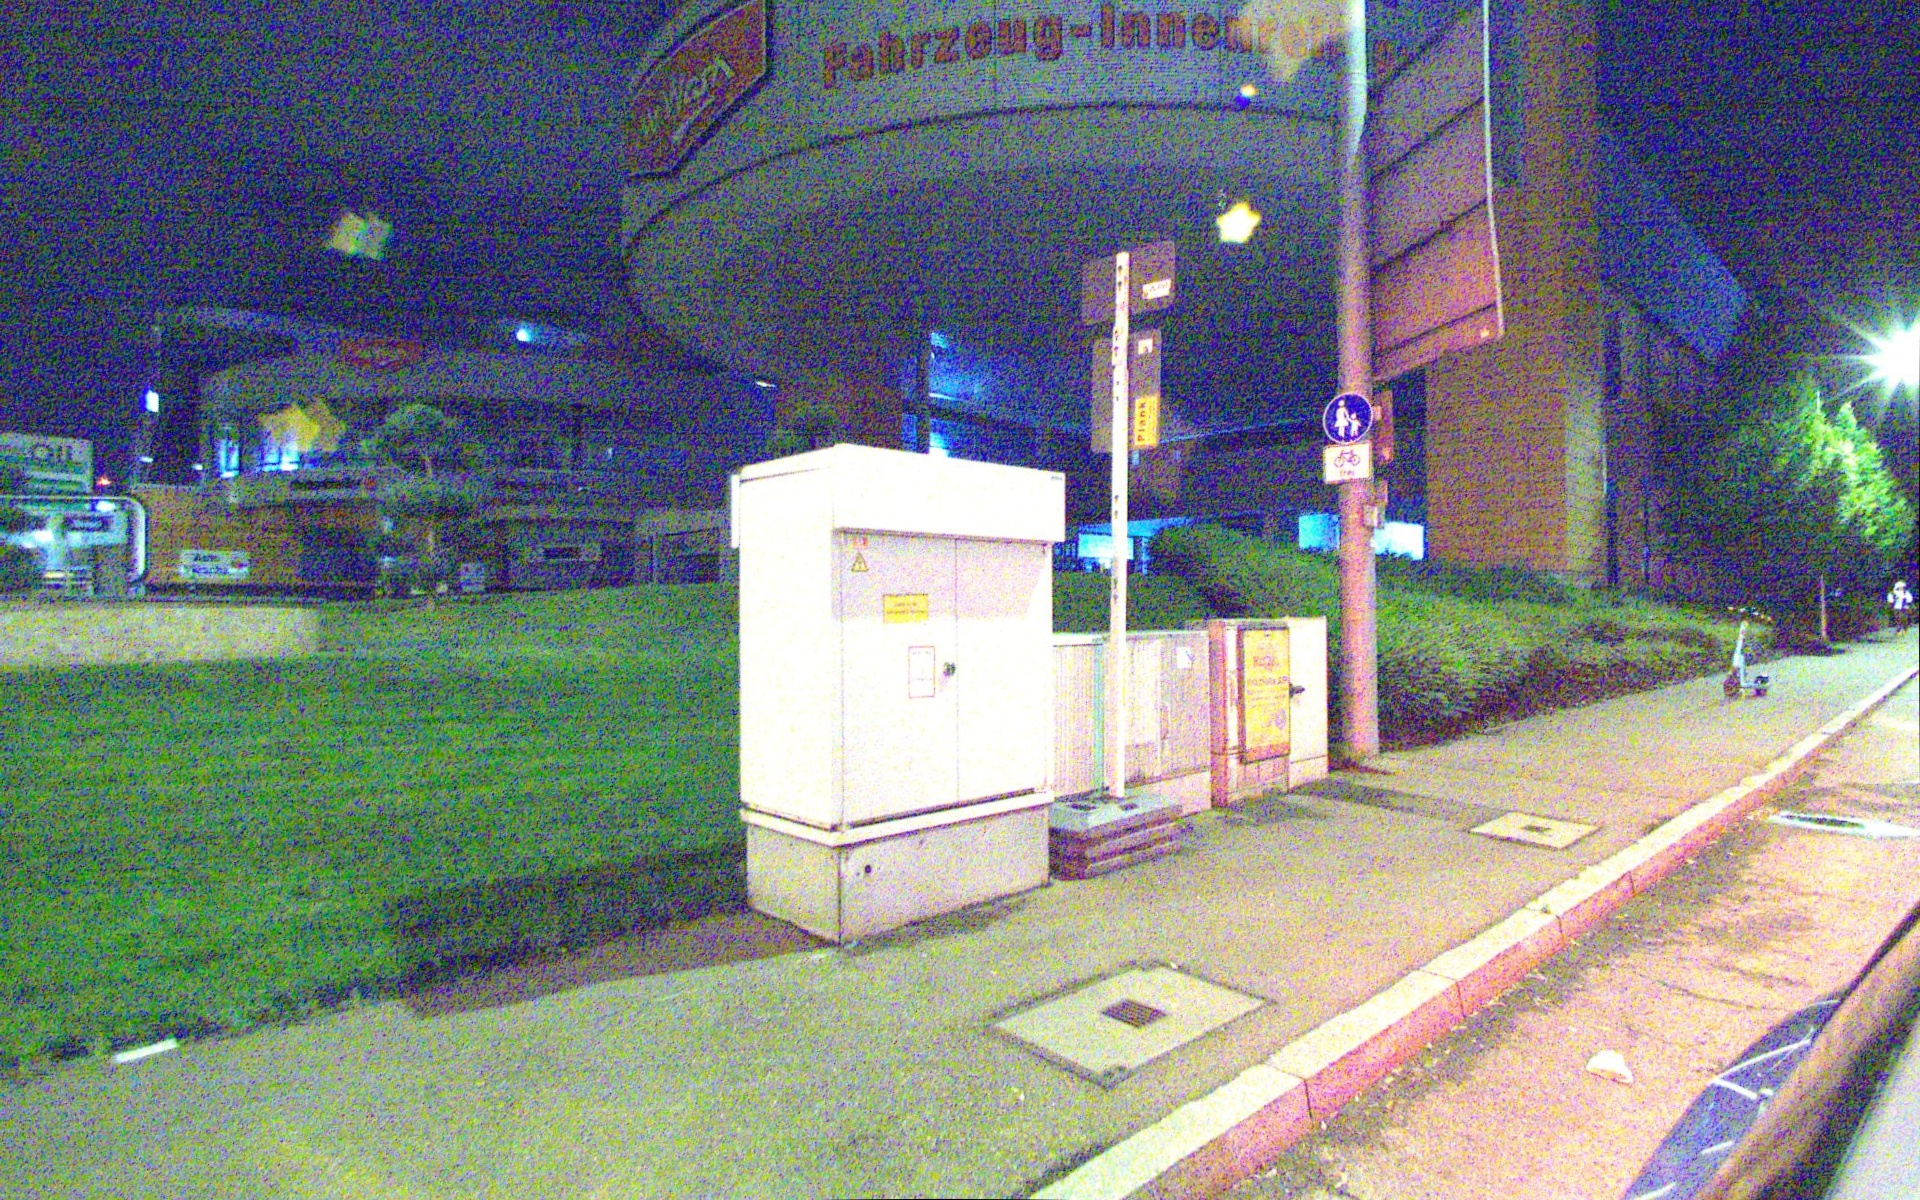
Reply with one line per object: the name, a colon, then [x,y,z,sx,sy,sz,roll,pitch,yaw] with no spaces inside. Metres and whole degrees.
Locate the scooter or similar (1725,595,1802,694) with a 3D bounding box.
scooter or similar: [11.179,0.592,14.066,1.367,1.295,0.569,0,1,-41]

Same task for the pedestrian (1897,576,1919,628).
pedestrian: [33.803,0.059,35.825,0.597,1.842,0.824,-1,0,-40]
